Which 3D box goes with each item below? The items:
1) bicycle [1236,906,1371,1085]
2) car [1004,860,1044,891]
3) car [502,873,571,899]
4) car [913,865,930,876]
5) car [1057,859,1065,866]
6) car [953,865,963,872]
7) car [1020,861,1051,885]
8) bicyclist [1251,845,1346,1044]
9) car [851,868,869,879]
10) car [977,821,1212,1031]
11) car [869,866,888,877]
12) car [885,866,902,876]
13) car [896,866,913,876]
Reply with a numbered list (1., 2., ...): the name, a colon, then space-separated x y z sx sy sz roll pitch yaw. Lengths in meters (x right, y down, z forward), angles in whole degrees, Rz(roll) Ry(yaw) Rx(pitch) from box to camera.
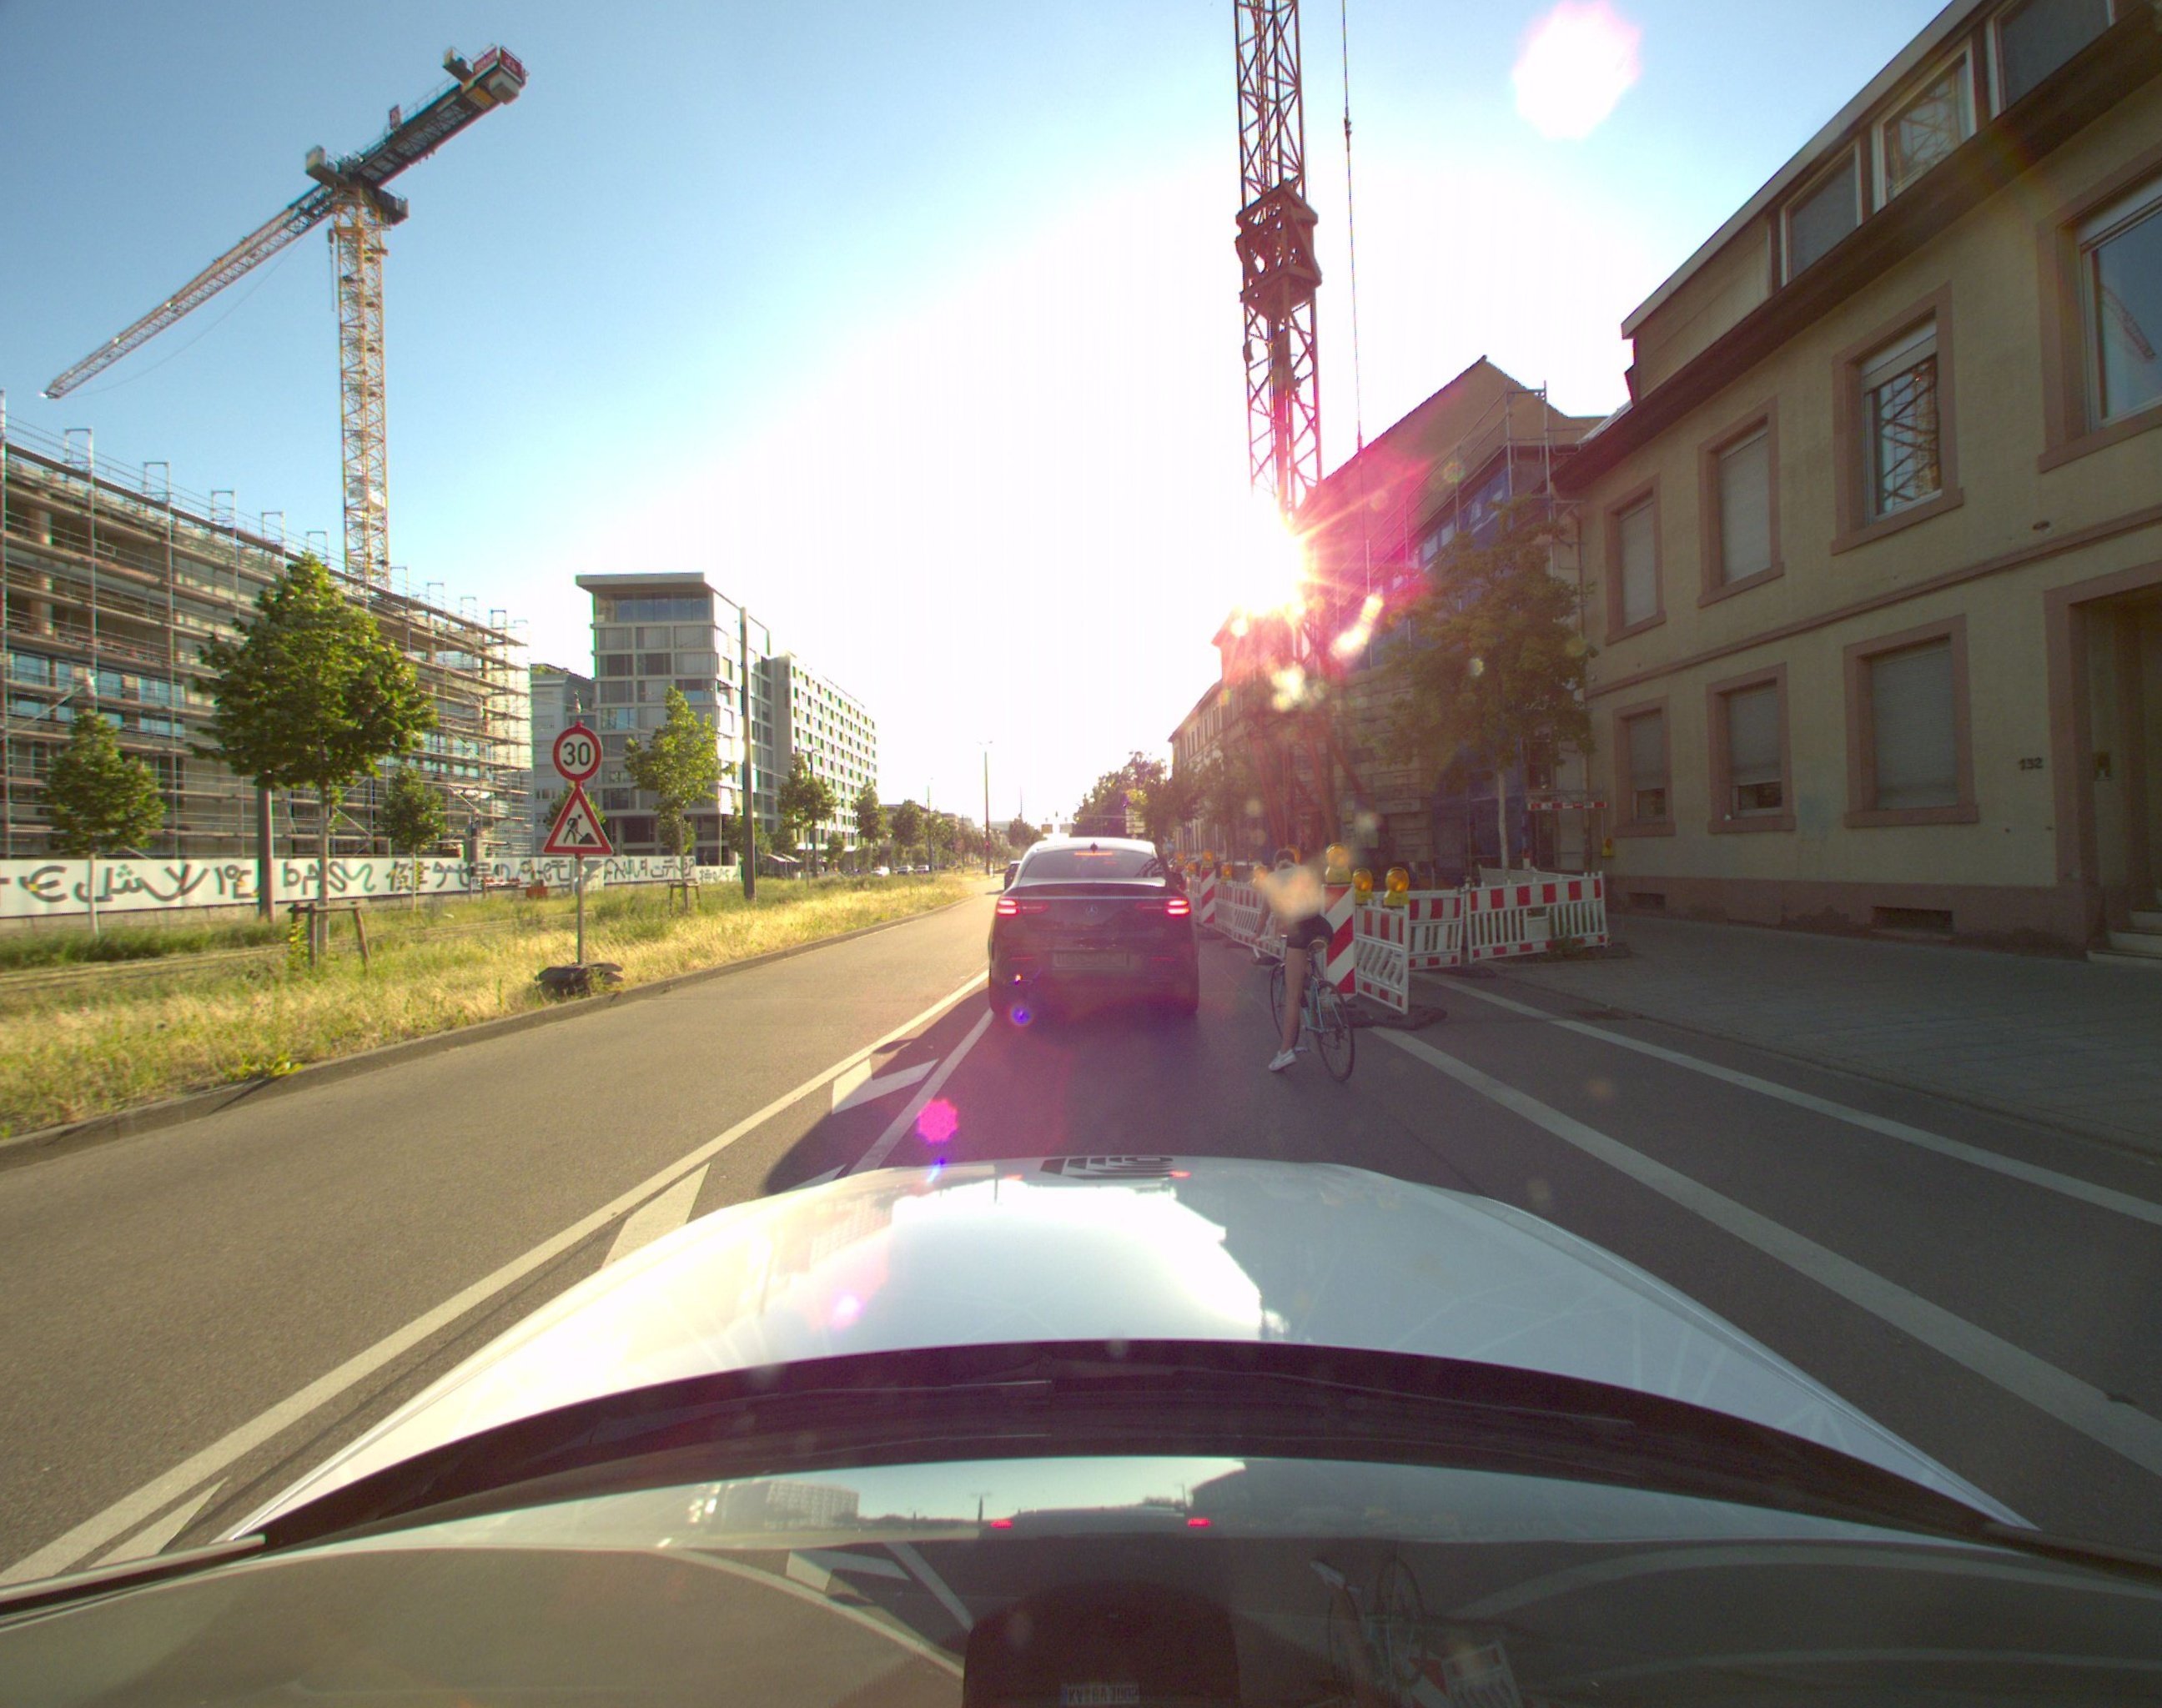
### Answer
1. bicycle: 1.606 0.971 6.138 0.511 1.052 1.724 0 -1 -1
2. car: -2.745 1.030 39.876 1.703 1.442 3.581 0 -1 0
3. car: -32.549 1.901 48.788 1.703 1.442 3.581 0 -1 0
4. car: -22.642 2.365 115.555 1.703 1.442 3.581 0 -1 0
5. car: -4.524 1.929 183.967 1.703 1.442 3.581 0 -1 0
6. car: -26.291 3.002 173.832 1.703 1.442 3.581 0 -1 0
7. car: -2.760 1.147 50.036 1.703 1.442 3.581 0 -1 0
8. bicyclist: 1.600 0.642 6.051 0.521 1.395 0.614 0 -1 -1
9. car: -32.169 2.848 118.535 1.703 1.442 3.581 0 -1 0
10. car: 0.180 0.629 8.932 1.986 1.772 4.001 0 -1 2
11. car: -27.823 2.378 112.070 1.703 1.442 3.581 0 -1 0
12. car: -28.401 2.608 123.467 1.703 1.442 3.581 0 -1 0
13. car: -25.238 2.394 116.527 1.703 1.442 3.581 0 -1 0
